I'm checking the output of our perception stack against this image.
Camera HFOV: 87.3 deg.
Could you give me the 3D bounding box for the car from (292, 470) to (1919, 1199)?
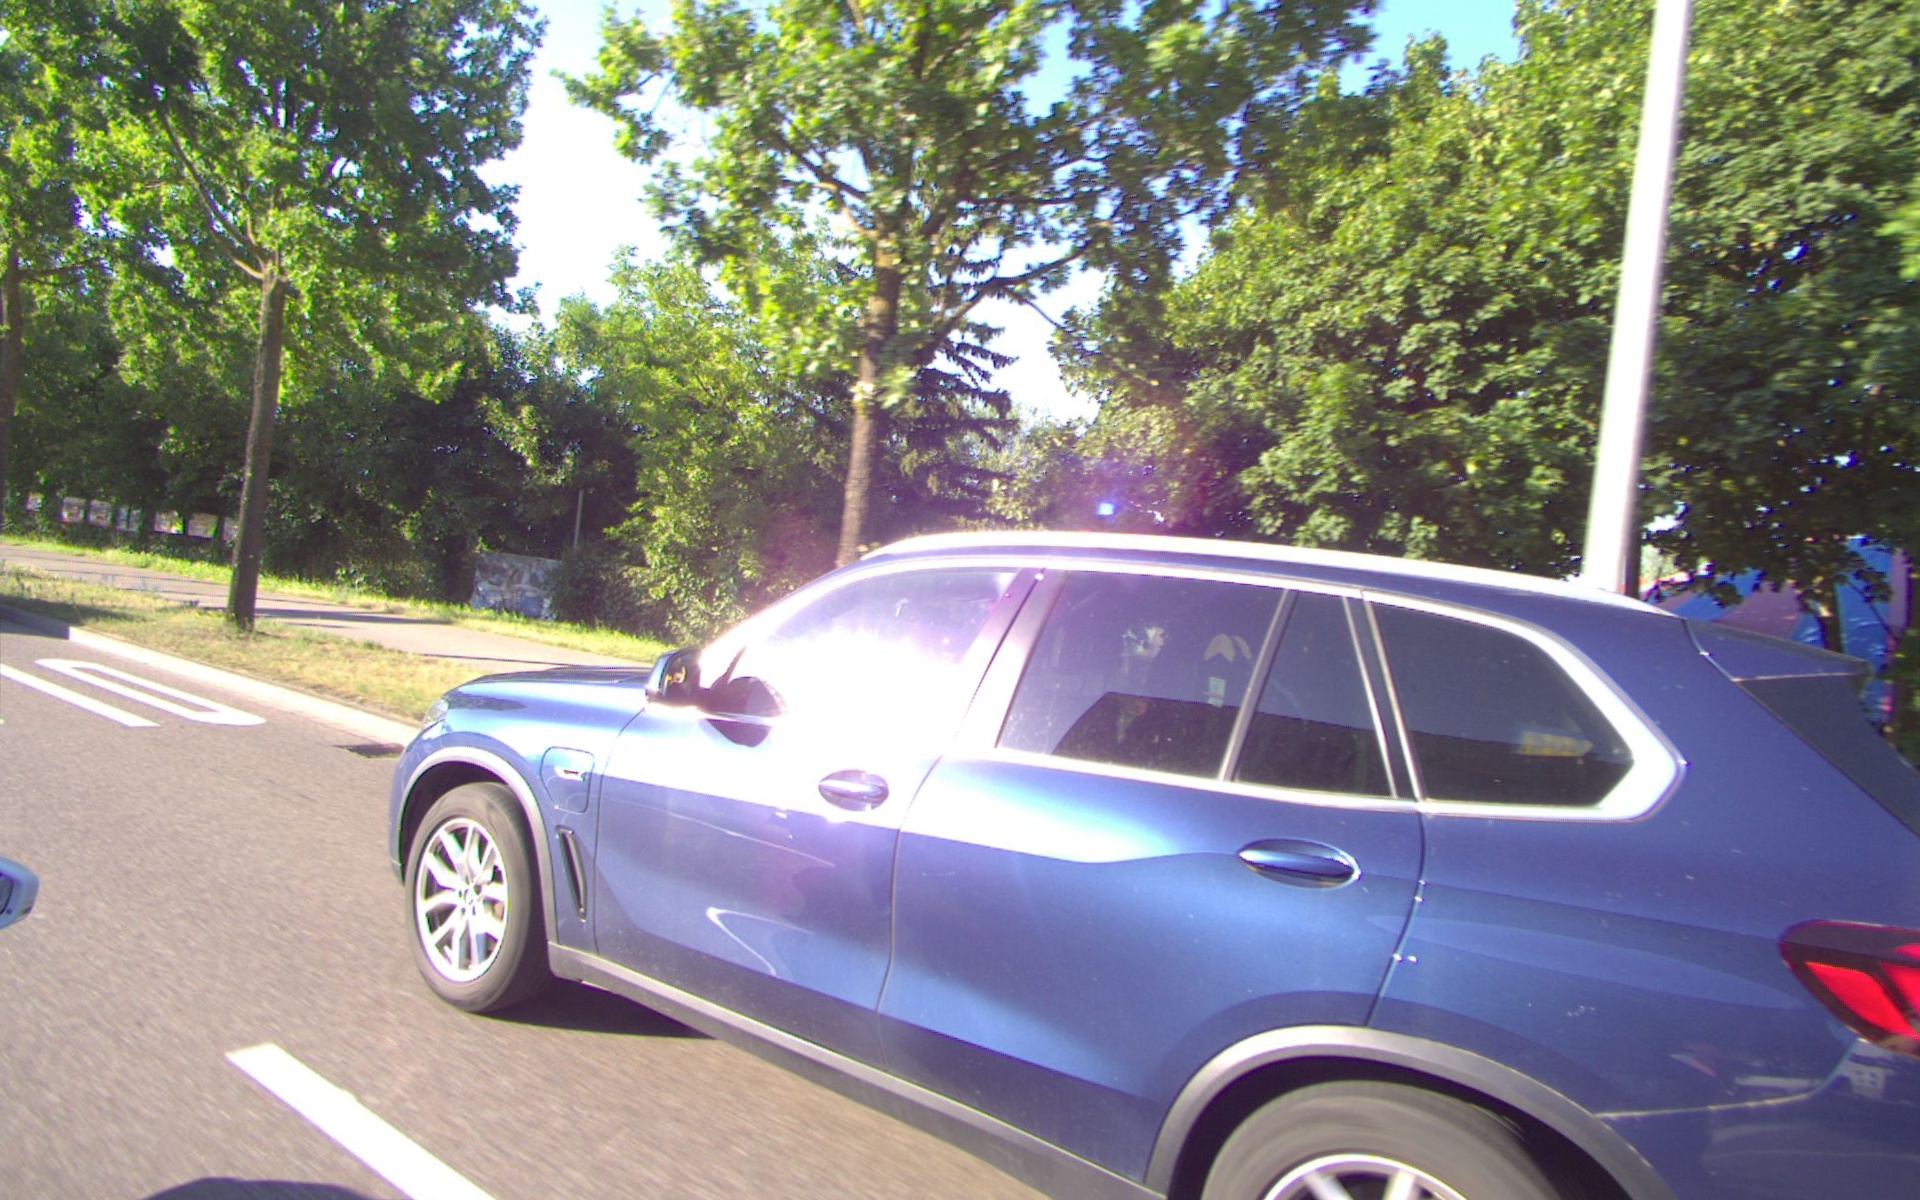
[{"bbox_3d":[0.054,0.685,3.381,4.622,1.747,1.958,6,-1,32],"label":"car"}]
